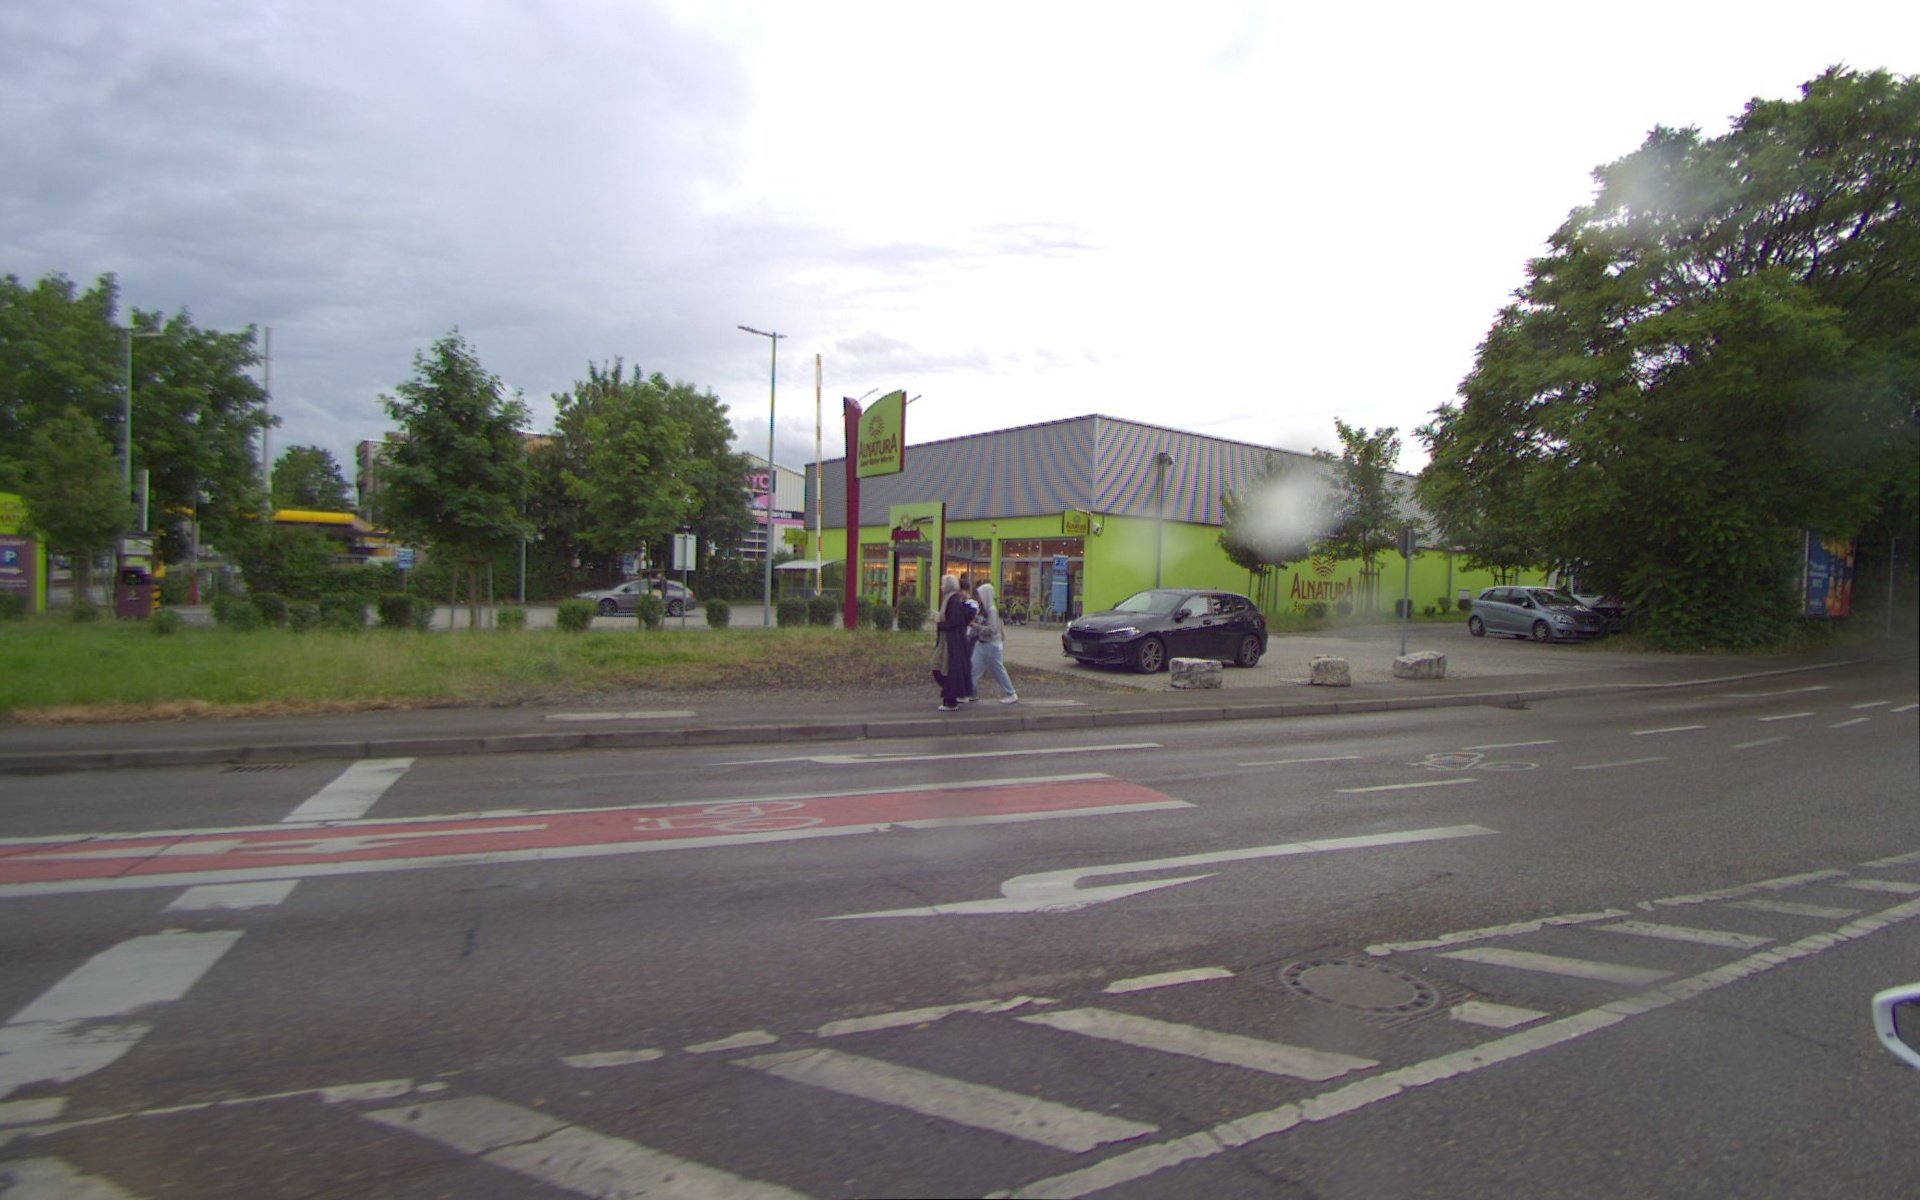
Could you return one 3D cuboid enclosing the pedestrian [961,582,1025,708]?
[{"bbox_3d":[0.436,0.585,13.477,0.668,1.624,0.604,0,3,-21],"label":"pedestrian"}]

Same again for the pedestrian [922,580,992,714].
[{"bbox_3d":[-0.047,0.566,12.614,0.668,1.624,0.654,0,3,-21],"label":"pedestrian"}]

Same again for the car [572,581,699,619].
[{"bbox_3d":[-12.398,-0.006,38.455,4.335,1.363,1.758,0,1,-35],"label":"car"}]

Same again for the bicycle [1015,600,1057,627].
[{"bbox_3d":[2.830,0.503,37.510,1.599,0.995,0.528,0,0,-36],"label":"bicycle"}]

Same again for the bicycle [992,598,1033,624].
[{"bbox_3d":[2.020,0.412,38.442,1.599,0.995,0.528,0,0,-36],"label":"bicycle"}]

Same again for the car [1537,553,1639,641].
[{"bbox_3d":[20.264,-0.200,32.657,2.073,2.567,5.599,2,3,25],"label":"car"}]

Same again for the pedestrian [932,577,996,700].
[{"bbox_3d":[0.047,0.505,13.710,0.668,1.624,0.654,0,3,-21],"label":"pedestrian"}]

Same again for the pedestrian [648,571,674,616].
[{"bbox_3d":[-11.143,-0.257,37.407,0.794,1.619,0.753,-1,3,-27],"label":"pedestrian"}]

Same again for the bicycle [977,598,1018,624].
[{"bbox_3d":[1.478,0.425,39.297,1.599,0.995,0.528,0,0,-36],"label":"bicycle"}]

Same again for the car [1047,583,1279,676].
[{"bbox_3d":[3.763,0.481,18.400,4.192,1.468,1.735,0,3,-35],"label":"car"}]

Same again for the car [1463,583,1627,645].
[{"bbox_3d":[17.012,0.347,29.483,1.964,1.564,4.118,0,3,-9],"label":"car"}]
